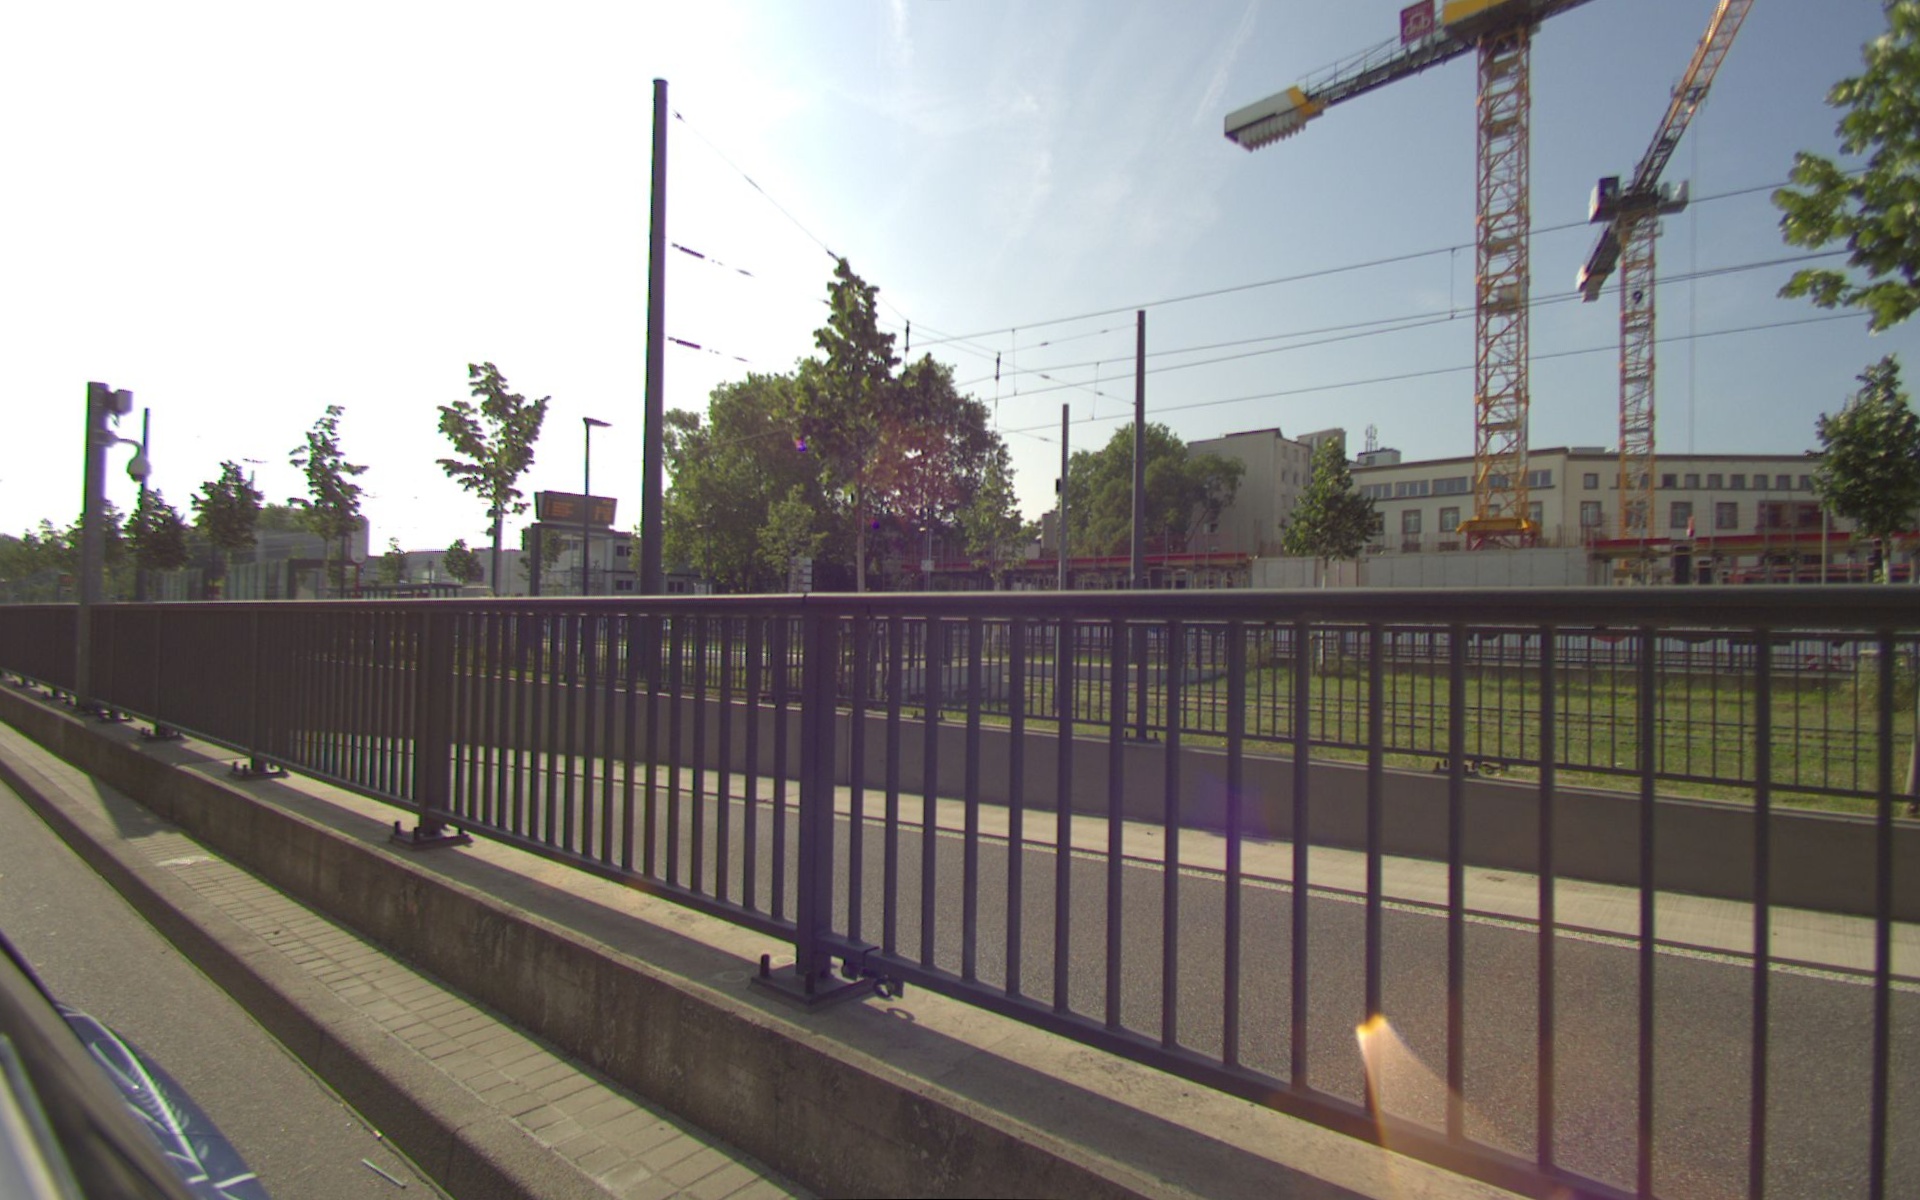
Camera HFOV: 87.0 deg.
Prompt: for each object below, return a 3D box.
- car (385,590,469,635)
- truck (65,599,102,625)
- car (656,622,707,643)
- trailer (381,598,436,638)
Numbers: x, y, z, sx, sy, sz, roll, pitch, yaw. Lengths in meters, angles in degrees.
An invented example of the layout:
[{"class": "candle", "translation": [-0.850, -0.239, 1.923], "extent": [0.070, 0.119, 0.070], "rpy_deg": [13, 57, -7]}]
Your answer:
[{"class": "car", "translation": [-43.812, 1.058, 83.023], "extent": [9.229, 3.539, 3.022], "rpy_deg": [-1, -2, 41]}, {"class": "truck", "translation": [-128.511, 1.766, 148.359], "extent": [8.887, 3.614, 2.989], "rpy_deg": [-2, -3, 42]}, {"class": "car", "translation": [-16.417, 1.920, 59.646], "extent": [2.959, 1.211, 1.485], "rpy_deg": [-1, -2, 41]}, {"class": "trailer", "translation": [-40.755, 1.307, 74.761], "extent": [5.019, 2.802, 2.023], "rpy_deg": [-1, -1, 41]}]
